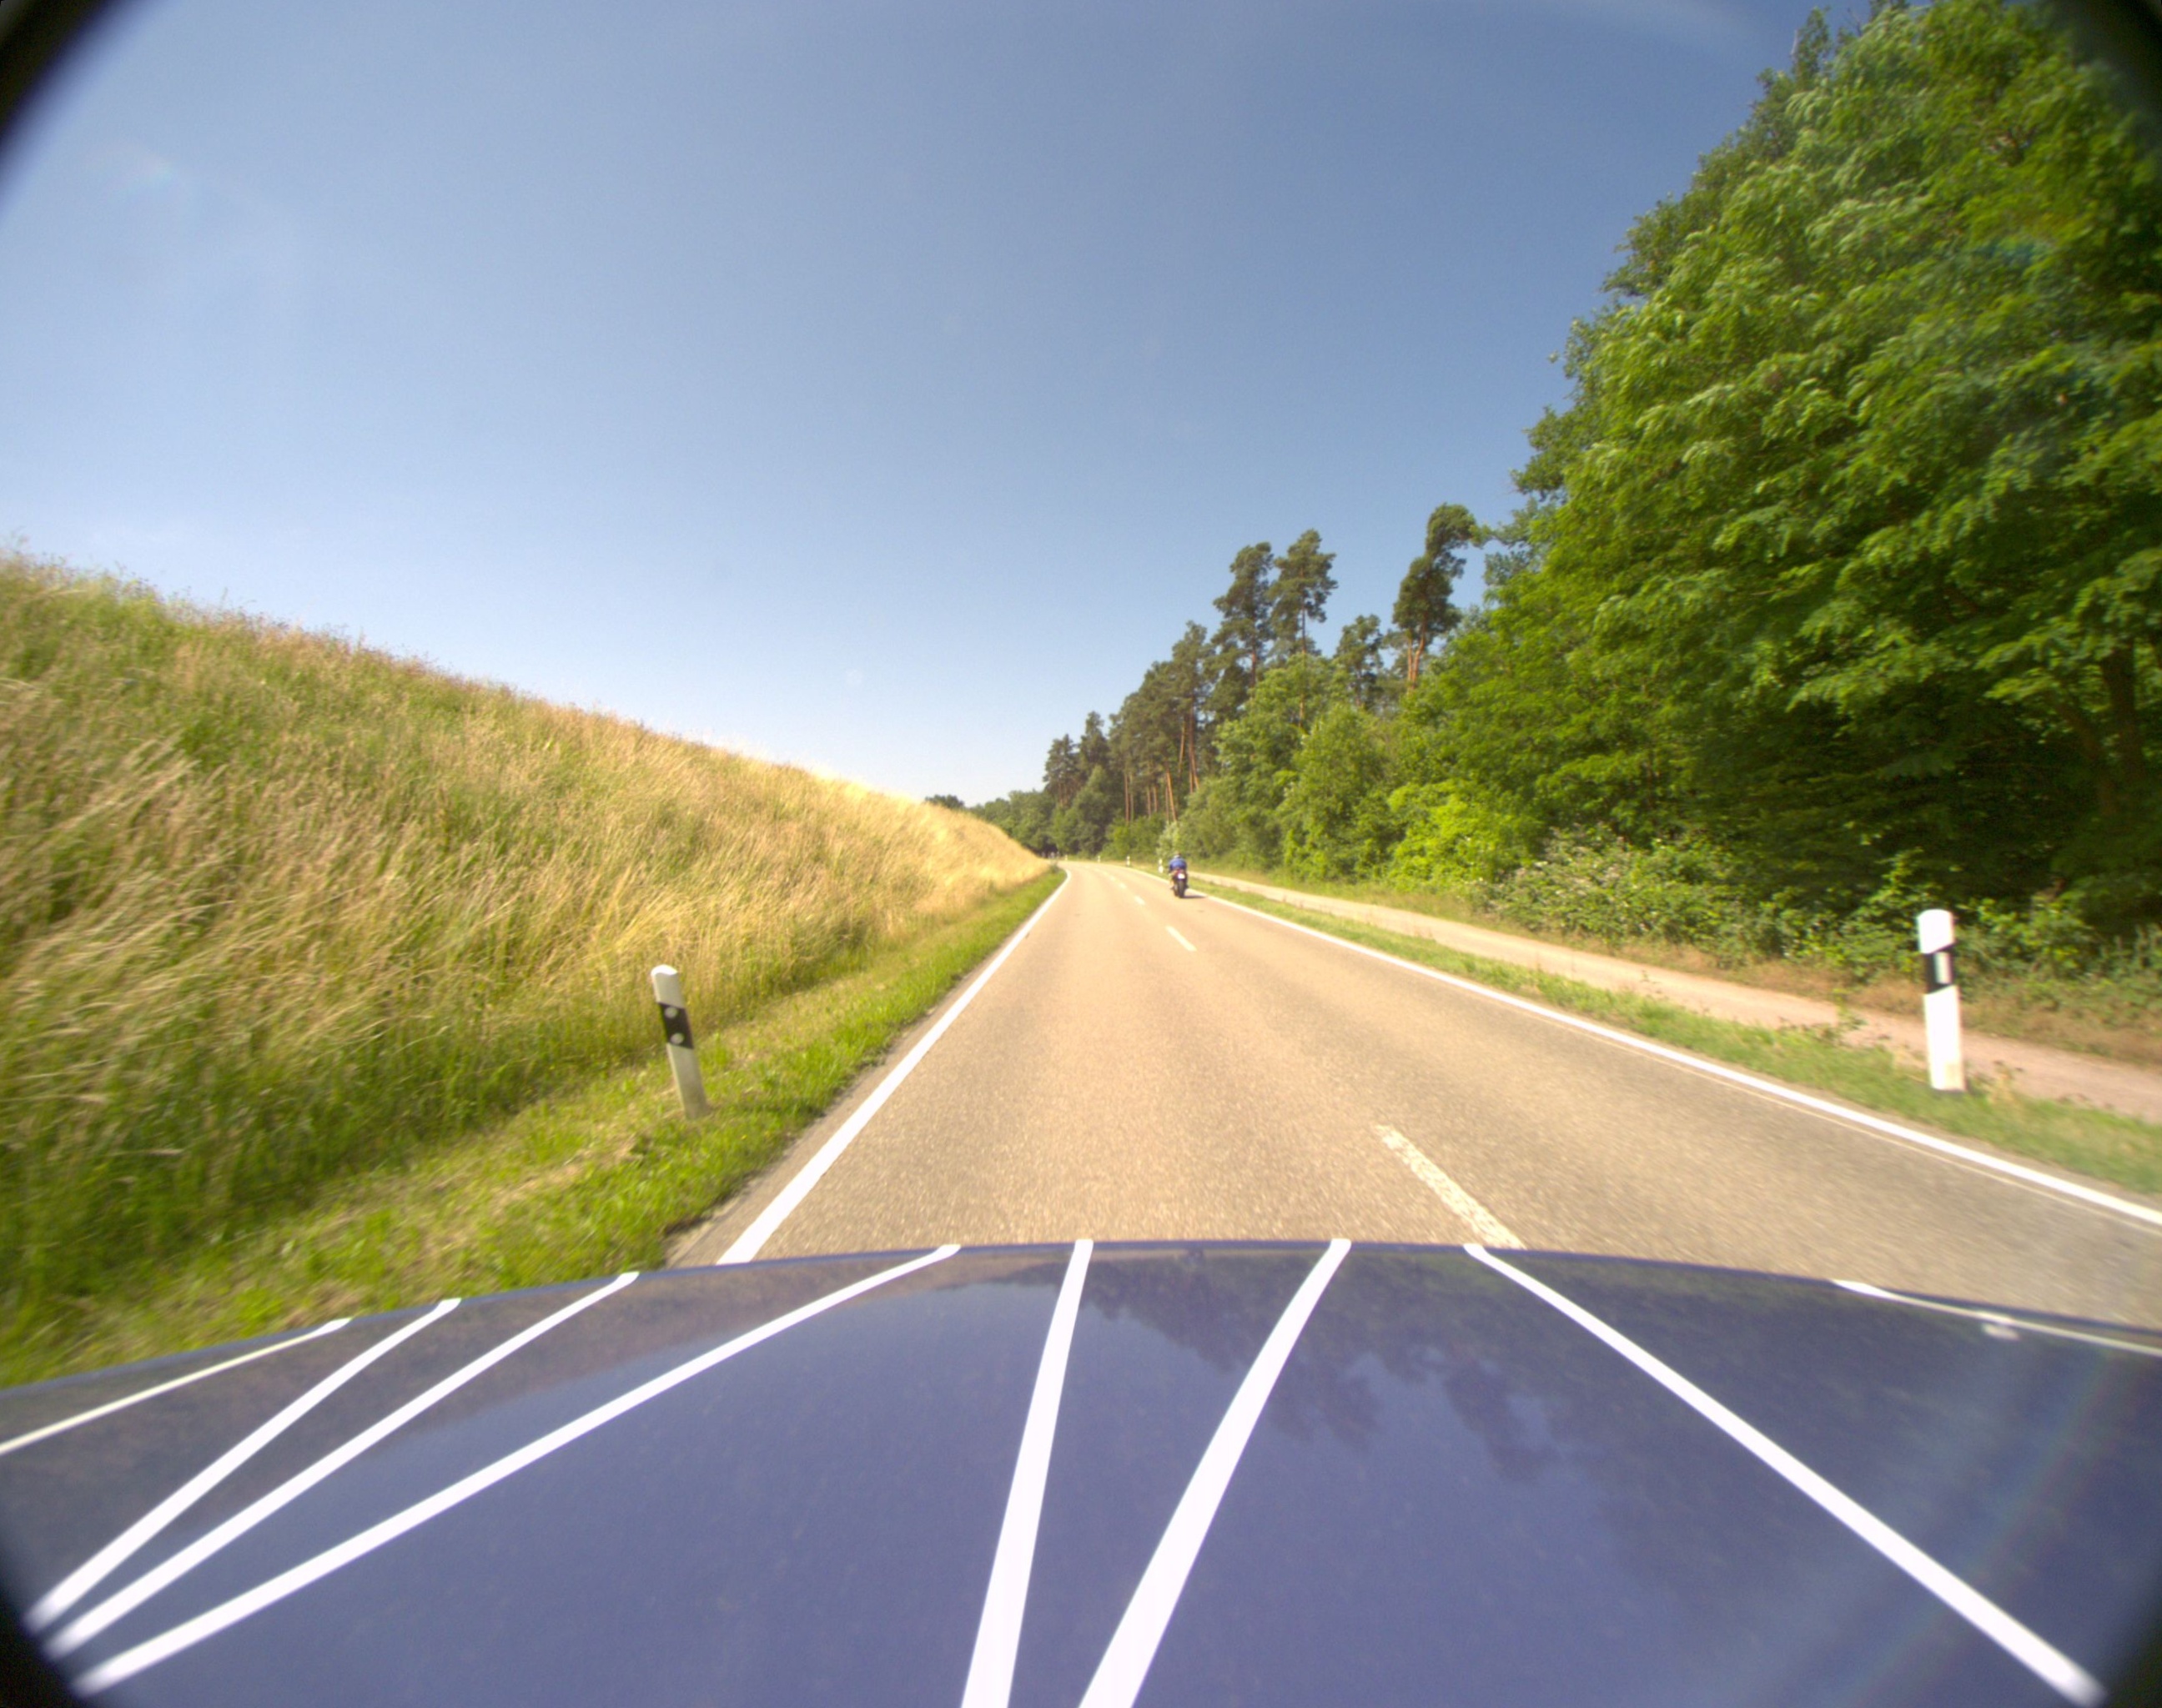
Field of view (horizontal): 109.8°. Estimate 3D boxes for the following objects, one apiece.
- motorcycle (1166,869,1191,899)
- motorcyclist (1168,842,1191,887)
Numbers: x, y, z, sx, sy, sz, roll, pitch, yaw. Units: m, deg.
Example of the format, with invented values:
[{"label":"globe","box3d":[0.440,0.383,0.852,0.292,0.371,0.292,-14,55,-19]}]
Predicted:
[{"label":"motorcycle","box3d":[3.439,1.031,26.878,0.640,0.979,2.006,0,1,1]},{"label":"motorcyclist","box3d":[3.443,0.365,26.618,0.661,1.519,0.813,2,1,-1]}]
